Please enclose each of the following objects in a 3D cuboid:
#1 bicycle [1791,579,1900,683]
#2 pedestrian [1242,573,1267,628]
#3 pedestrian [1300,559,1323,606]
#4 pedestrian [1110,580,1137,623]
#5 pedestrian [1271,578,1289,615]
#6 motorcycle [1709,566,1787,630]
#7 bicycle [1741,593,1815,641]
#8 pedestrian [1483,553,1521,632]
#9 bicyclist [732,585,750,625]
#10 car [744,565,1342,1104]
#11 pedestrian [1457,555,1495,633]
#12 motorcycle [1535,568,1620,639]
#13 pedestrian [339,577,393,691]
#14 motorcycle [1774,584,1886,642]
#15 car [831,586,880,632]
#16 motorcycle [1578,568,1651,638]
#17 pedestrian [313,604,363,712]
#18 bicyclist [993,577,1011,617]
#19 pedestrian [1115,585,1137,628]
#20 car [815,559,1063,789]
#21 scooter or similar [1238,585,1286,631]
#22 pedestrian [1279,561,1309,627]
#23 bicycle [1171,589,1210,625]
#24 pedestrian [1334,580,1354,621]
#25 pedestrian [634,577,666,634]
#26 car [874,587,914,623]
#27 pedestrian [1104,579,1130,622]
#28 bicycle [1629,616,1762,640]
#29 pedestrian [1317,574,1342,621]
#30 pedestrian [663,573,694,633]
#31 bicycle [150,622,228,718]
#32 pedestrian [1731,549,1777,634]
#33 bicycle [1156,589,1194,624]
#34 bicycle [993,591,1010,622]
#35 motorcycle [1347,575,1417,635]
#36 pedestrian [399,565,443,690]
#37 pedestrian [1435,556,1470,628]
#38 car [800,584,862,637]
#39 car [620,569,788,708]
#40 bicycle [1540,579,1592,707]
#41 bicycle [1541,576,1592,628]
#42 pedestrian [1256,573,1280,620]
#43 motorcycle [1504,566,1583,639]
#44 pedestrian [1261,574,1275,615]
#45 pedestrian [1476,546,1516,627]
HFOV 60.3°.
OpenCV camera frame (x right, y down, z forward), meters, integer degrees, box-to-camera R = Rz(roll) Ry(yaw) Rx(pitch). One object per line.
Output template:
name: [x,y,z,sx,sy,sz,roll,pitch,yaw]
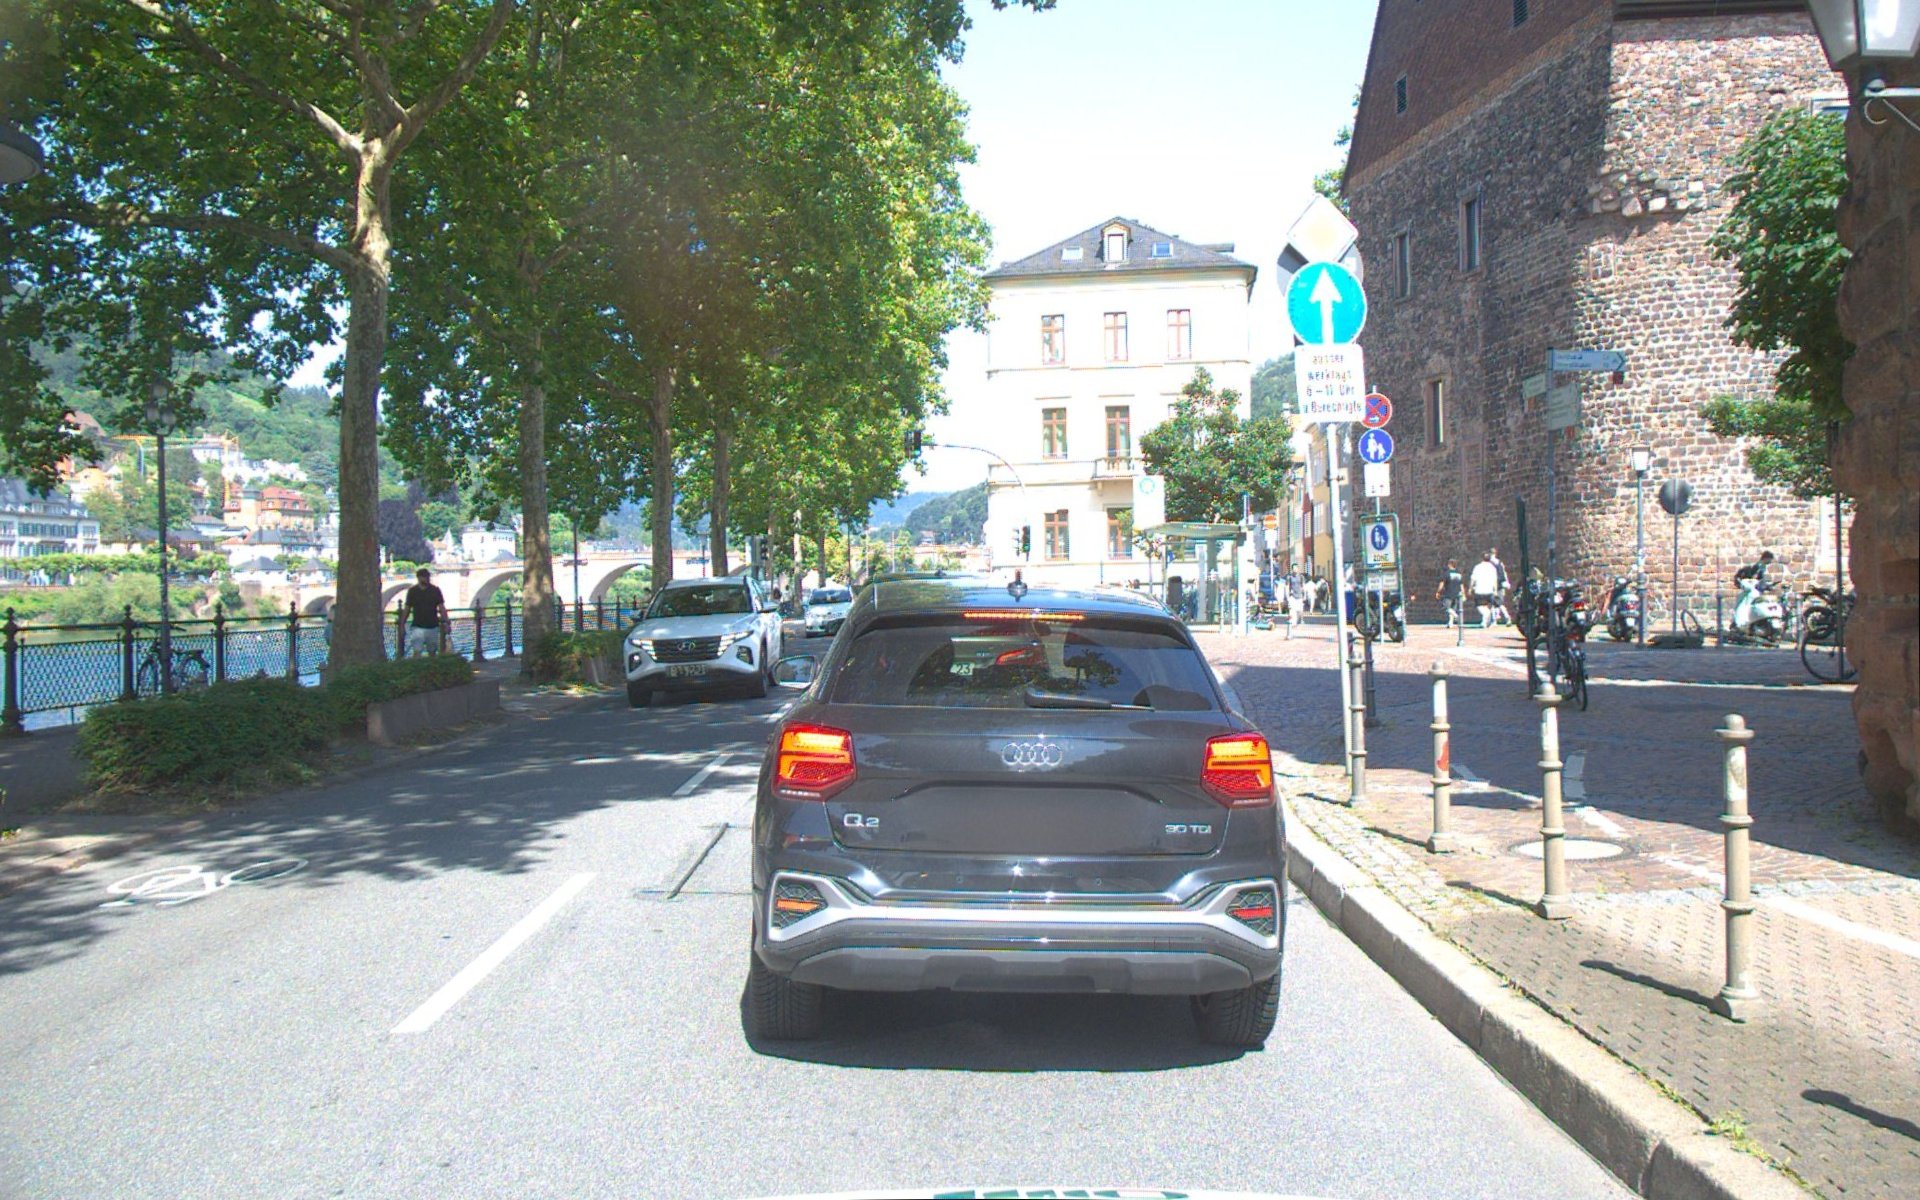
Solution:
bicycle: [10.607,0.345,19.859,0.437,1.182,1.731,-1,1,3]
pedestrian: [7.584,0.015,42.652,0.546,1.409,0.588,1,-1,1]
pedestrian: [15.679,-0.774,73.734,0.822,2.049,0.738,1,-1,-1]
pedestrian: [4.751,0.032,48.145,0.651,1.233,0.640,1,-1,-7]
pedestrian: [13.565,-0.158,70.137,0.610,1.558,0.466,1,-1,-7]
motorcycle: [14.053,-0.032,29.540,0.496,1.092,1.839,1,0,-1]
bicycle: [15.130,0.295,30.634,0.346,0.835,1.926,1,1,-2]
pedestrian: [13.590,-0.189,41.509,0.655,1.954,0.821,1,-1,-2]
bicyclist: [-7.369,0.156,55.720,0.555,1.334,0.551,1,-1,-5]
car: [0.216,0.662,6.613,1.707,1.535,3.646,1,1,-1]
pedestrian: [12.825,-0.153,41.109,0.655,1.917,0.821,1,-1,-2]
motorcycle: [11.391,0.066,30.596,0.661,1.257,2.312,1,0,-1]
pedestrian: [-9.078,0.510,25.302,0.589,1.715,0.583,-1,0,-2]
motorcycle: [16.493,0.245,31.376,1.826,1.072,0.480,1,-1,7]
car: [-4.557,0.382,72.650,1.777,1.754,4.421,-6,1,-1]
motorcycle: [12.257,0.056,31.023,0.535,1.257,2.030,1,0,-1]
pedestrian: [-8.157,0.755,21.691,0.469,1.386,0.417,-1,0,3]
bicyclist: [1.583,-0.111,61.819,0.593,1.475,0.590,1,-1,-6]
pedestrian: [5.889,0.230,58.674,0.679,1.526,0.513,1,-1,-5]
car: [-0.173,0.522,13.627,1.756,1.623,3.398,1,0,-1]
scooter or similar: [7.199,0.190,39.478,1.067,1.084,0.323,1,-1,-3]
pedestrian: [9.876,-0.172,48.859,0.732,1.923,0.752,1,-1,1]
bicycle: [6.839,0.205,49.104,1.184,1.053,0.178,1,-1,-20]
pedestrian: [15.919,0.023,68.595,0.676,1.640,0.892,-2,0,17]
pedestrian: [-10.250,0.185,54.689,0.891,1.843,0.586,1,-1,3]
car: [-3.547,0.270,89.312,1.952,1.838,4.000,1,0,1]
pedestrian: [4.638,0.009,48.894,0.651,1.253,0.640,1,-1,-7]
bicycle: [12.287,0.462,27.683,1.887,0.388,0.918,0,-1,14]
pedestrian: [16.588,-0.111,74.238,0.921,2.049,0.807,1,-1,-1]
pedestrian: [-9.821,0.108,57.725,0.891,2.049,0.586,1,-1,3]
bicycle: [-9.530,0.851,20.476,0.352,1.110,1.295,2,0,-2]
pedestrian: [16.095,-0.171,33.545,0.791,1.691,0.656,-1,0,24]
bicycle: [6.450,0.204,49.679,1.166,1.033,0.178,1,-1,-20]
bicycle: [1.552,0.245,61.812,0.428,1.105,1.675,1,0,-5]
motorcycle: [7.694,0.077,30.234,0.555,1.030,2.489,-1,1,-2]
pedestrian: [-8.331,0.421,25.571,0.523,1.920,0.436,0,0,-1]
pedestrian: [12.575,-0.204,42.238,0.639,1.834,0.847,0,0,-2]
car: [-4.285,0.316,55.489,1.703,1.599,4.091,-4,1,-1]
car: [-3.519,0.482,23.411,1.733,1.689,3.999,-4,0,-1]
bicycle: [6.157,0.401,16.841,0.189,1.225,1.771,0,1,10]
bicycle: [14.801,0.044,40.409,0.381,1.230,1.715,1,0,-9]
pedestrian: [13.824,-0.155,74.217,0.925,2.049,0.807,1,-1,-1]
motorcycle: [10.621,0.051,30.189,0.642,1.288,2.199,0,0,-1]
pedestrian: [13.046,-0.231,70.051,0.440,1.710,0.465,1,-1,-8]
pedestrian: [13.783,-0.345,42.566,0.715,2.049,0.878,1,-1,-1]
